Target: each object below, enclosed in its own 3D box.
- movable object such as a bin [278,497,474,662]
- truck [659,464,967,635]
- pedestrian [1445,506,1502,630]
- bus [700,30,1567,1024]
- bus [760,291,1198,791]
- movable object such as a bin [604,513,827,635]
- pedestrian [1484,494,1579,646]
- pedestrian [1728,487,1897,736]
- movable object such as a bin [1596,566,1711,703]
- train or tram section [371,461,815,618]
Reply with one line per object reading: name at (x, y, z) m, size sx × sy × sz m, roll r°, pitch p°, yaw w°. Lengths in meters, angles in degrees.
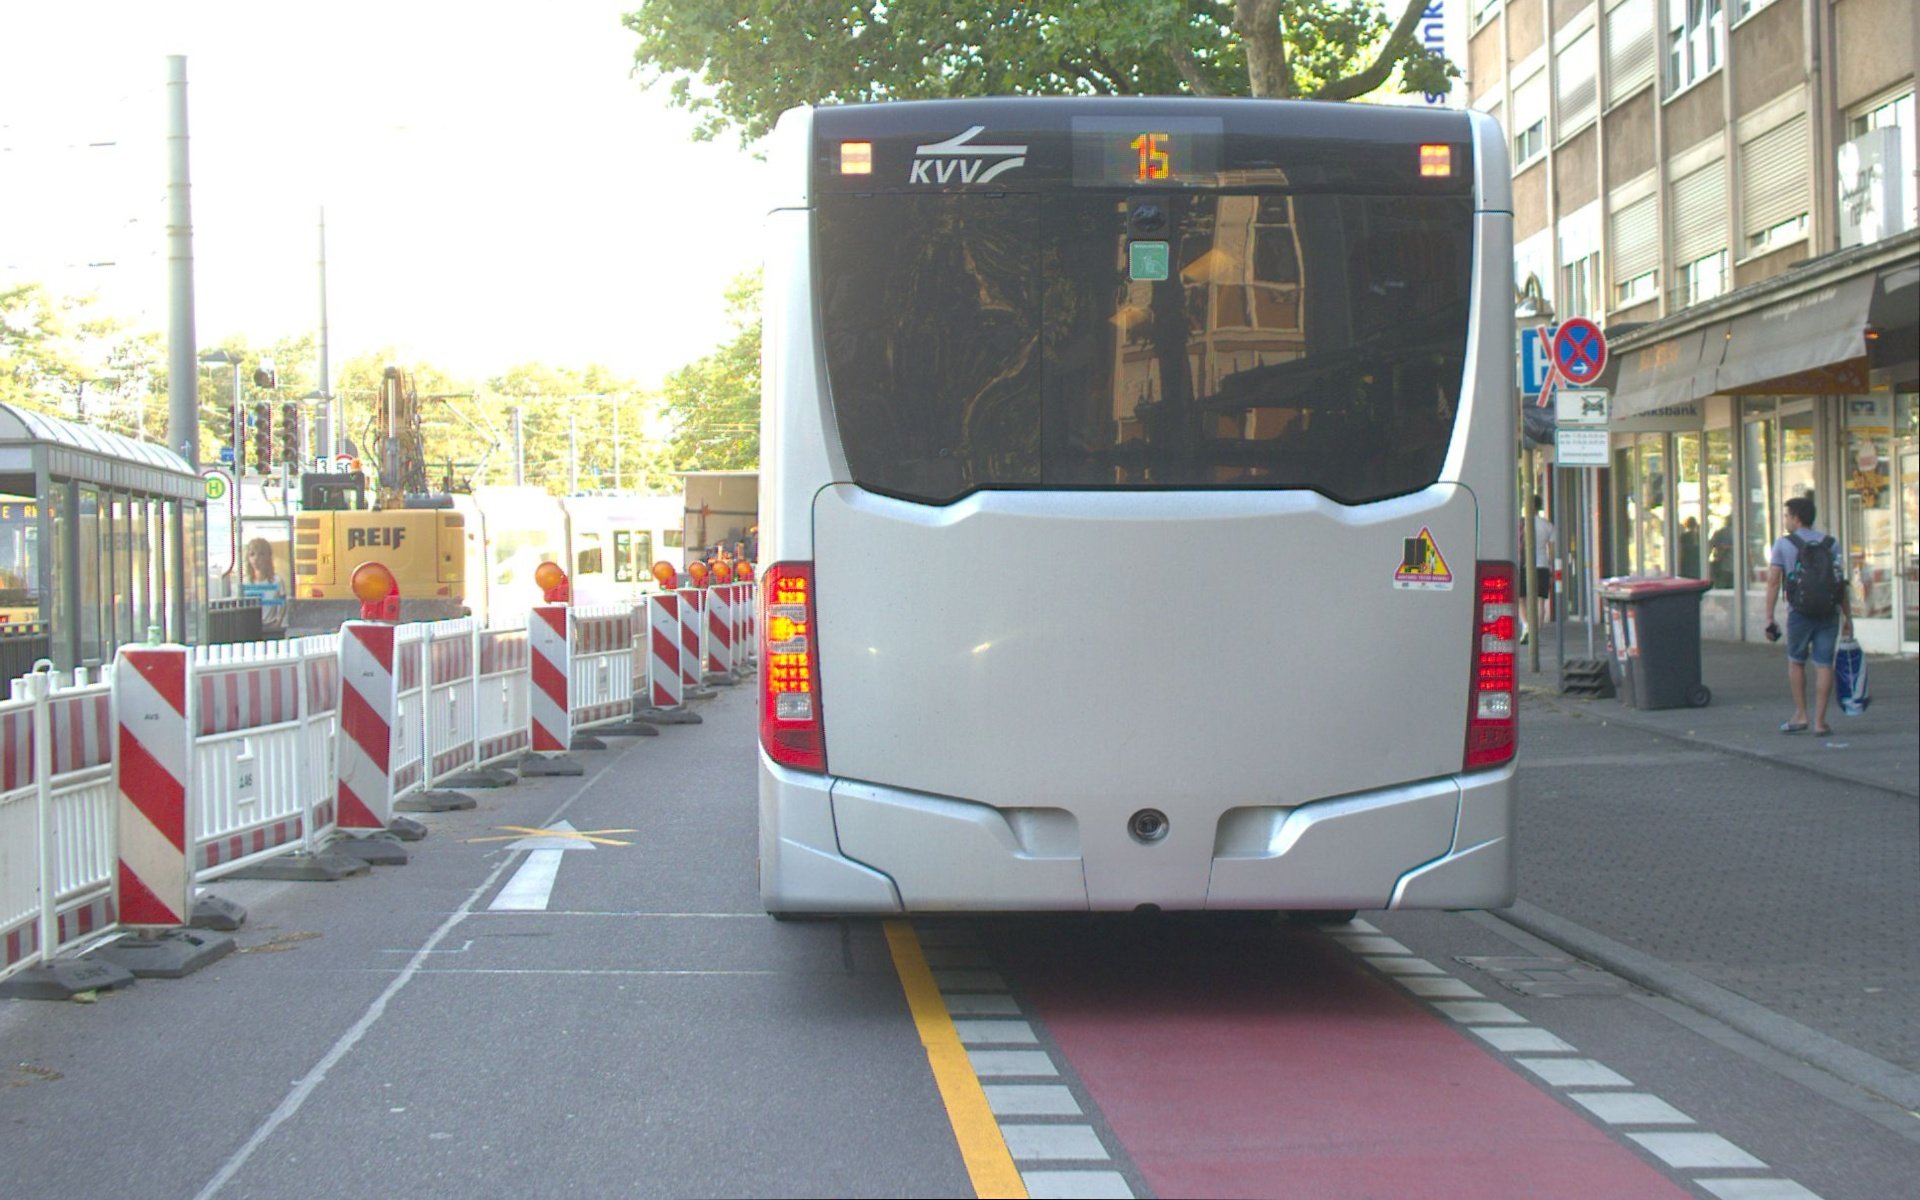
movable object such as a bin at (-8.613, -0.329, 51.156) m, size 2.642 × 2.310 × 4.903 m, roll -1°, pitch 1°, yaw -7°
truck at (-3.093, -1.128, 75.781) m, size 2.816 × 3.529 × 8.971 m, roll -1°, pitch 1°, yaw 26°
pedestrian at (7.251, -0.459, 48.563) m, size 0.583 × 1.702 × 0.679 m, roll -4°, pitch 1°, yaw -1°
bus at (0.353, -0.325, 16.240) m, size 2.733 × 3.128 × 10.704 m, roll 0°, pitch 1°, yaw -2°
bus at (-0.121, -0.429, 26.030) m, size 2.708 × 3.096 × 8.981 m, roll -1°, pitch 1°, yaw -3°
movable object such as a bin at (-4.656, -0.536, 66.257) m, size 1.996 × 2.249 × 5.201 m, roll 1°, pitch 1°, yaw 25°
pedestrian at (7.326, -0.387, 44.102) m, size 0.838 × 1.863 × 1.100 m, roll -5°, pitch 1°, yaw -1°
pedestrian at (5.953, 0.071, 24.049) m, size 0.843 × 1.667 × 0.990 m, roll -3°, pitch 1°, yaw -1°
movable object such as a bin at (5.775, 0.278, 28.680) m, size 0.674 × 1.071 × 1.228 m, roll -2°, pitch 2°, yaw -1°
train or tram section at (-8.606, -1.507, 83.519) m, size 2.855 × 3.521 × 13.371 m, roll -1°, pitch 1°, yaw 33°
